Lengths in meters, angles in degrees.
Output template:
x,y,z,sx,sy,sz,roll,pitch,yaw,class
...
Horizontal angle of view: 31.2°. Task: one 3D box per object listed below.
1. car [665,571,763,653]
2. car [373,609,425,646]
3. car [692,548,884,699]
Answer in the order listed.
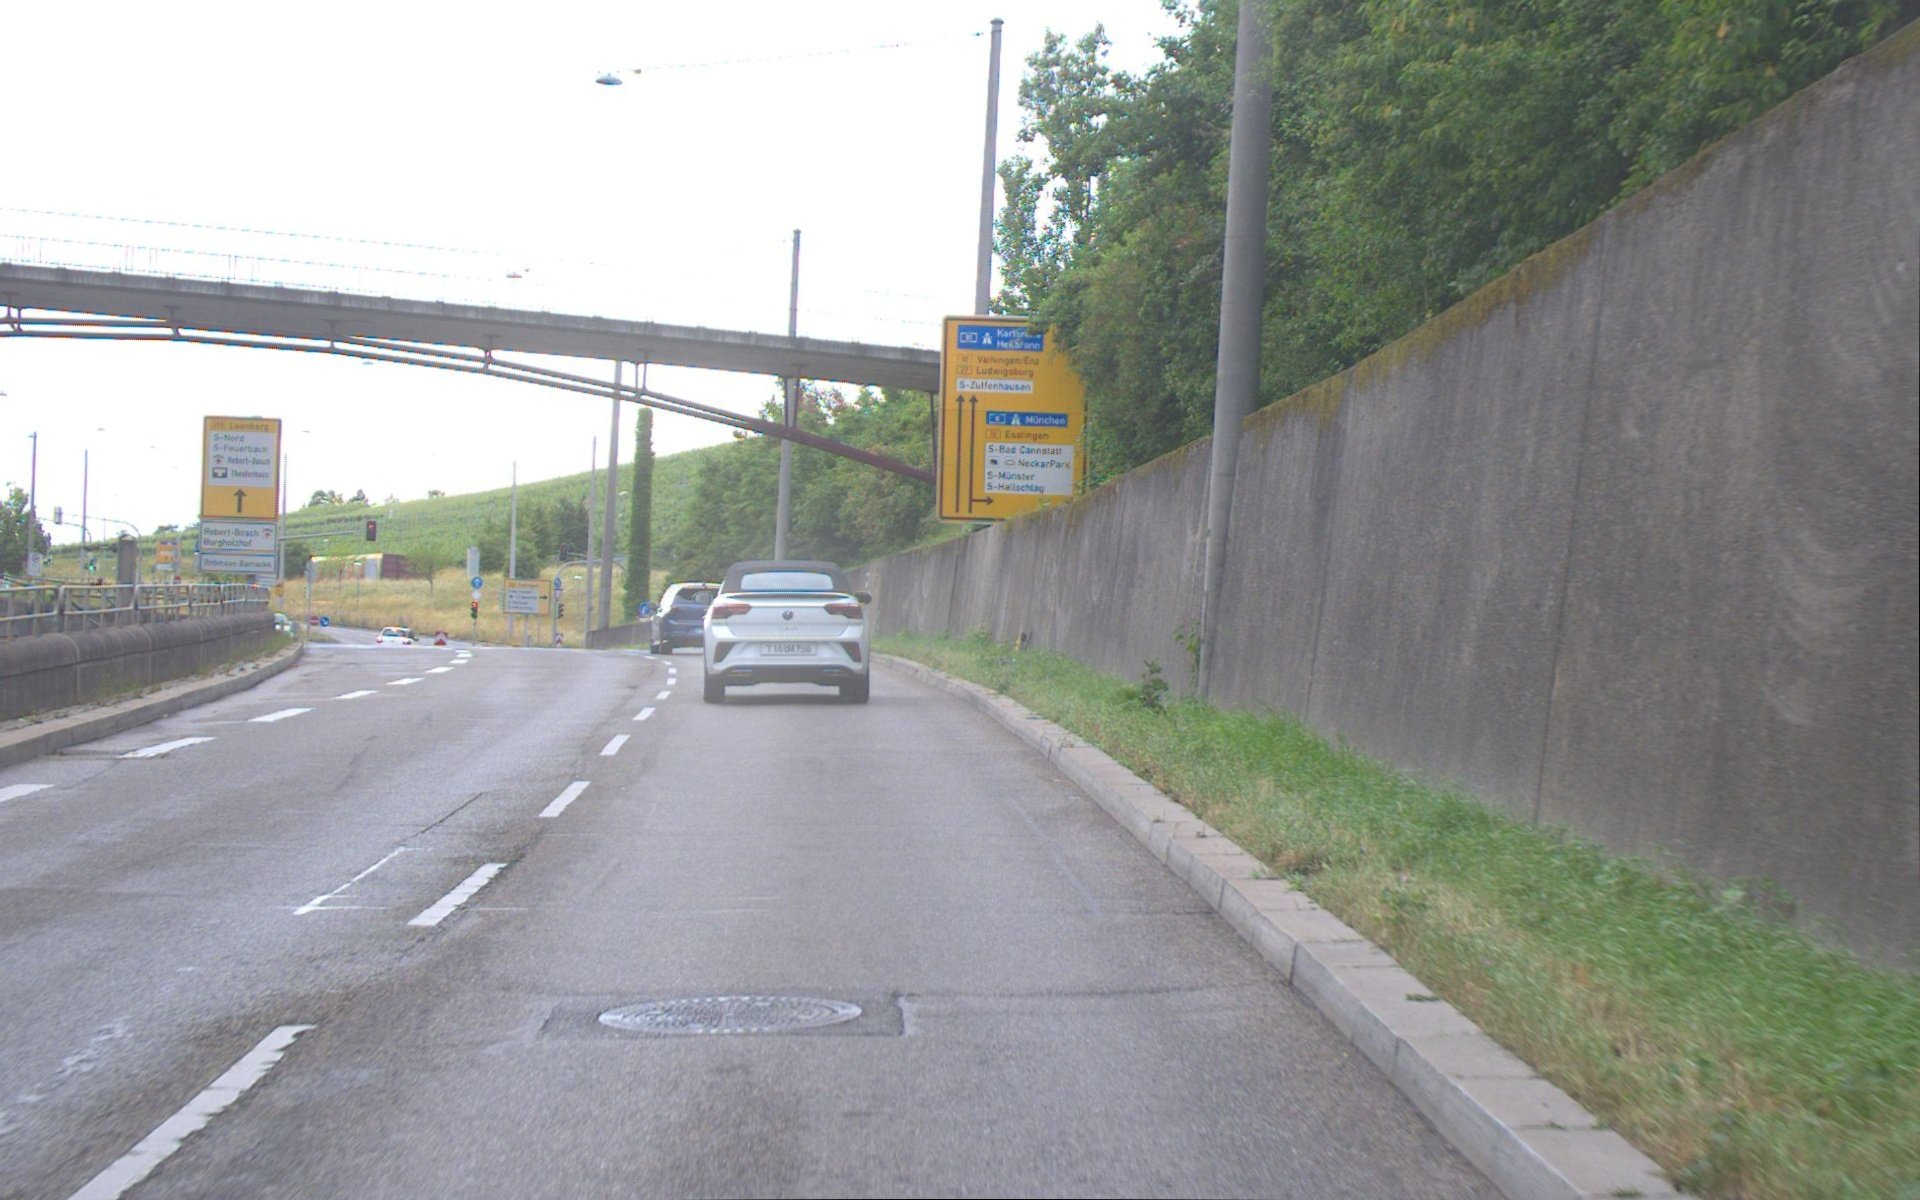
x,y,z,sx,sy,sz,roll,pitch,yaw,class
-5.026,0.226,69.936,1.926,1.594,4.062,0,1,-5,car
-26.271,1.309,161.075,1.774,1.514,3.724,5,-2,-1,car
-1.930,0.208,37.901,1.995,1.573,4.126,0,1,-4,car
